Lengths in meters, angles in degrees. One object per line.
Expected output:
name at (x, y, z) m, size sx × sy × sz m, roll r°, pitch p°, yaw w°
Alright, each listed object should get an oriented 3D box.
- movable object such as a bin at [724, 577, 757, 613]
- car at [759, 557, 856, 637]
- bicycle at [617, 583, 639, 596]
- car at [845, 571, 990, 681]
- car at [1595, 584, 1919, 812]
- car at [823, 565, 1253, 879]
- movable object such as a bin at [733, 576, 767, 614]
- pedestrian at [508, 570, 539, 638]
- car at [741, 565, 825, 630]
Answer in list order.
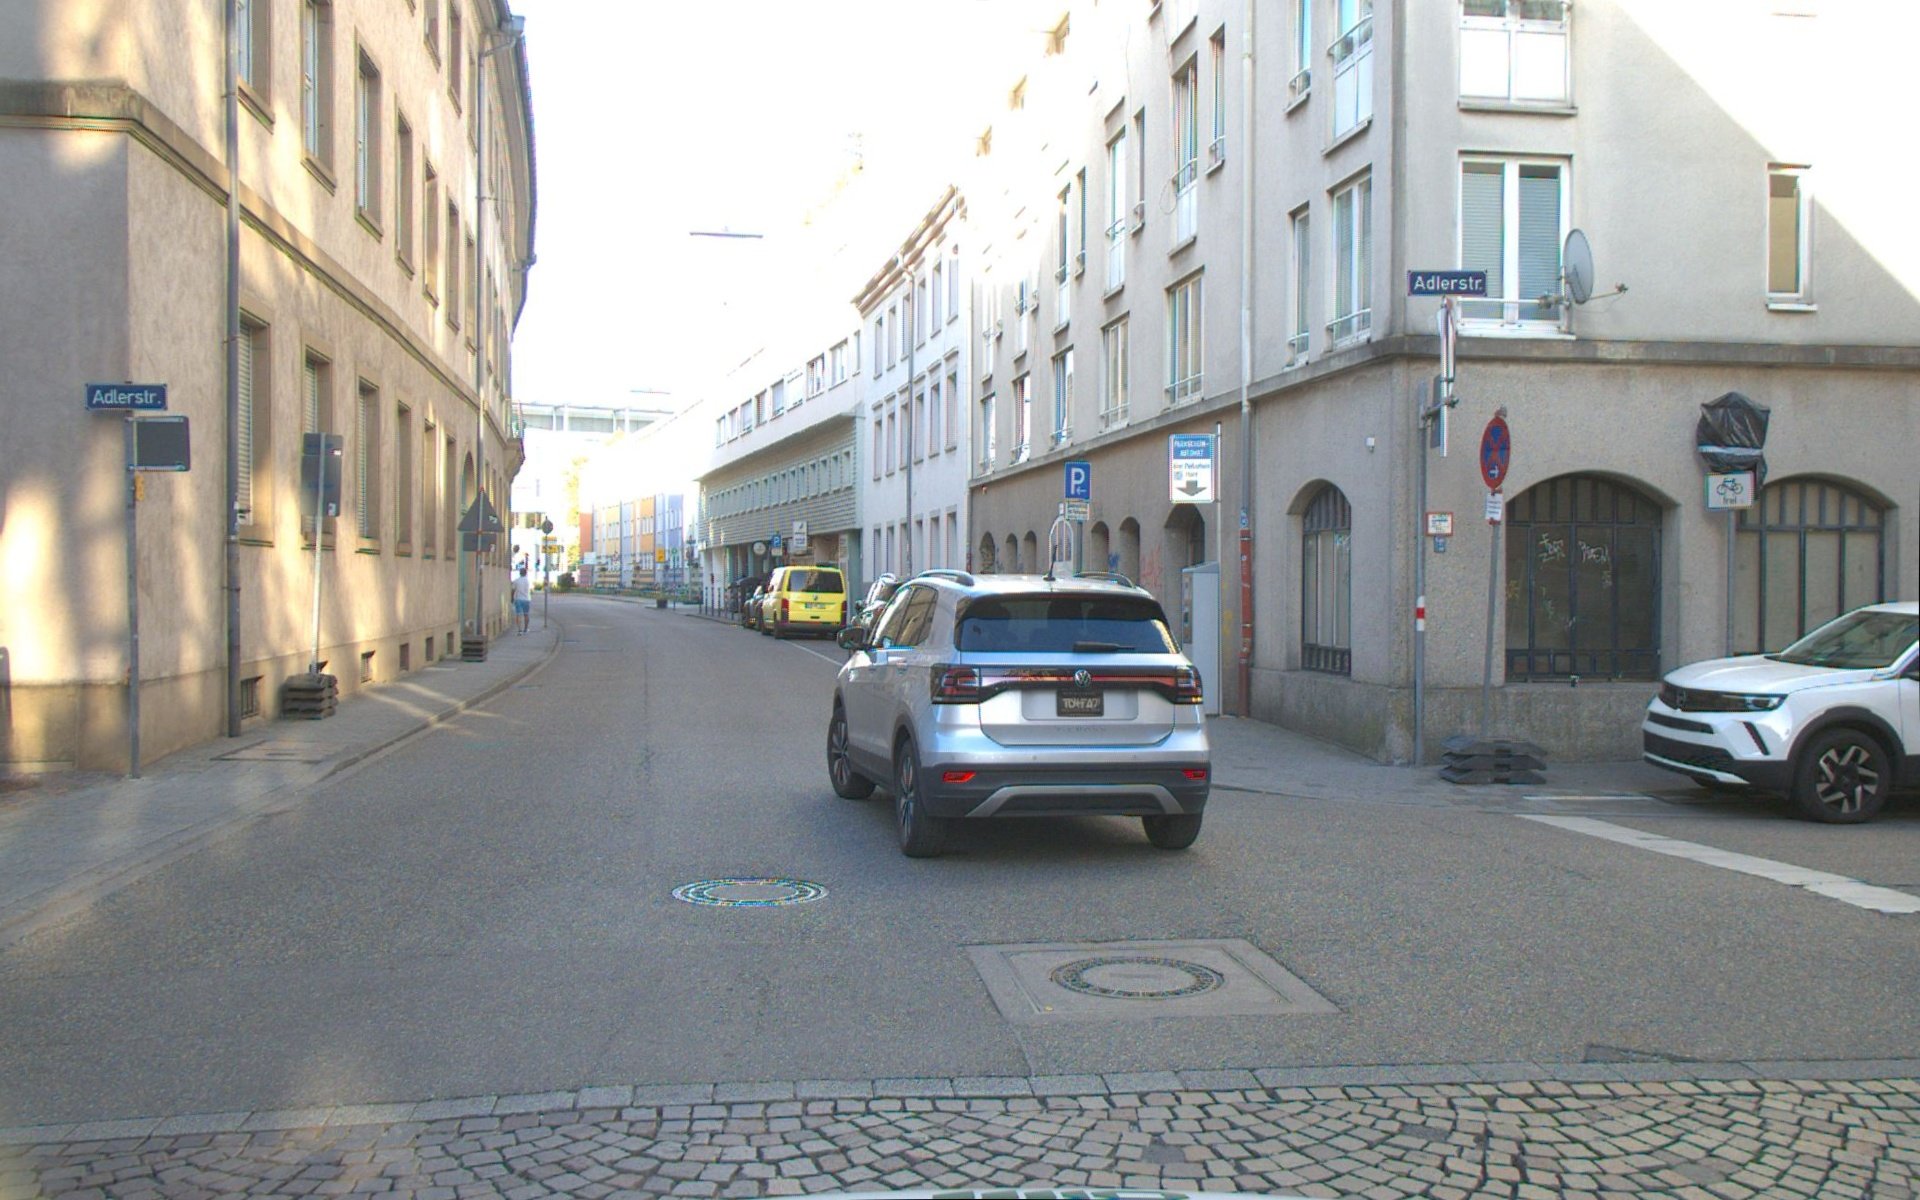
movable object such as a bin at (-9.397, -0.212, 70.760) m, size 1.114 × 1.505 × 1.731 m, roll 0°, pitch 1°, yaw -18°
car at (-4.195, -0.106, 45.038) m, size 2.018 × 2.049 × 4.160 m, roll 0°, pitch 1°, yaw -14°
bicycle at (-26.647, -0.817, 132.783) m, size 1.751 × 1.018 × 0.544 m, roll 0°, pitch 0°, yaw -16°
car at (-0.821, 0.394, 28.712) m, size 1.932 × 1.721 × 4.092 m, roll 1°, pitch 1°, yaw -10°
car at (7.293, 0.703, 12.653) m, size 4.132 × 1.580 × 1.900 m, roll 1°, pitch 1°, yaw -4°
car at (0.270, 0.588, 10.540) m, size 1.804 × 1.589 × 3.988 m, roll -1°, pitch 1°, yaw -12°
movable object such as a bin at (-8.763, -0.213, 69.083) m, size 1.114 × 1.585 × 1.731 m, roll 0°, pitch 1°, yaw -18°
pedestrian at (-11.277, 0.101, 42.717) m, size 0.753 × 1.754 × 0.684 m, roll 0°, pitch 0°, yaw -16°
car at (-5.469, -0.106, 50.772) m, size 2.018 × 1.905 × 4.085 m, roll 0°, pitch 1°, yaw -14°
